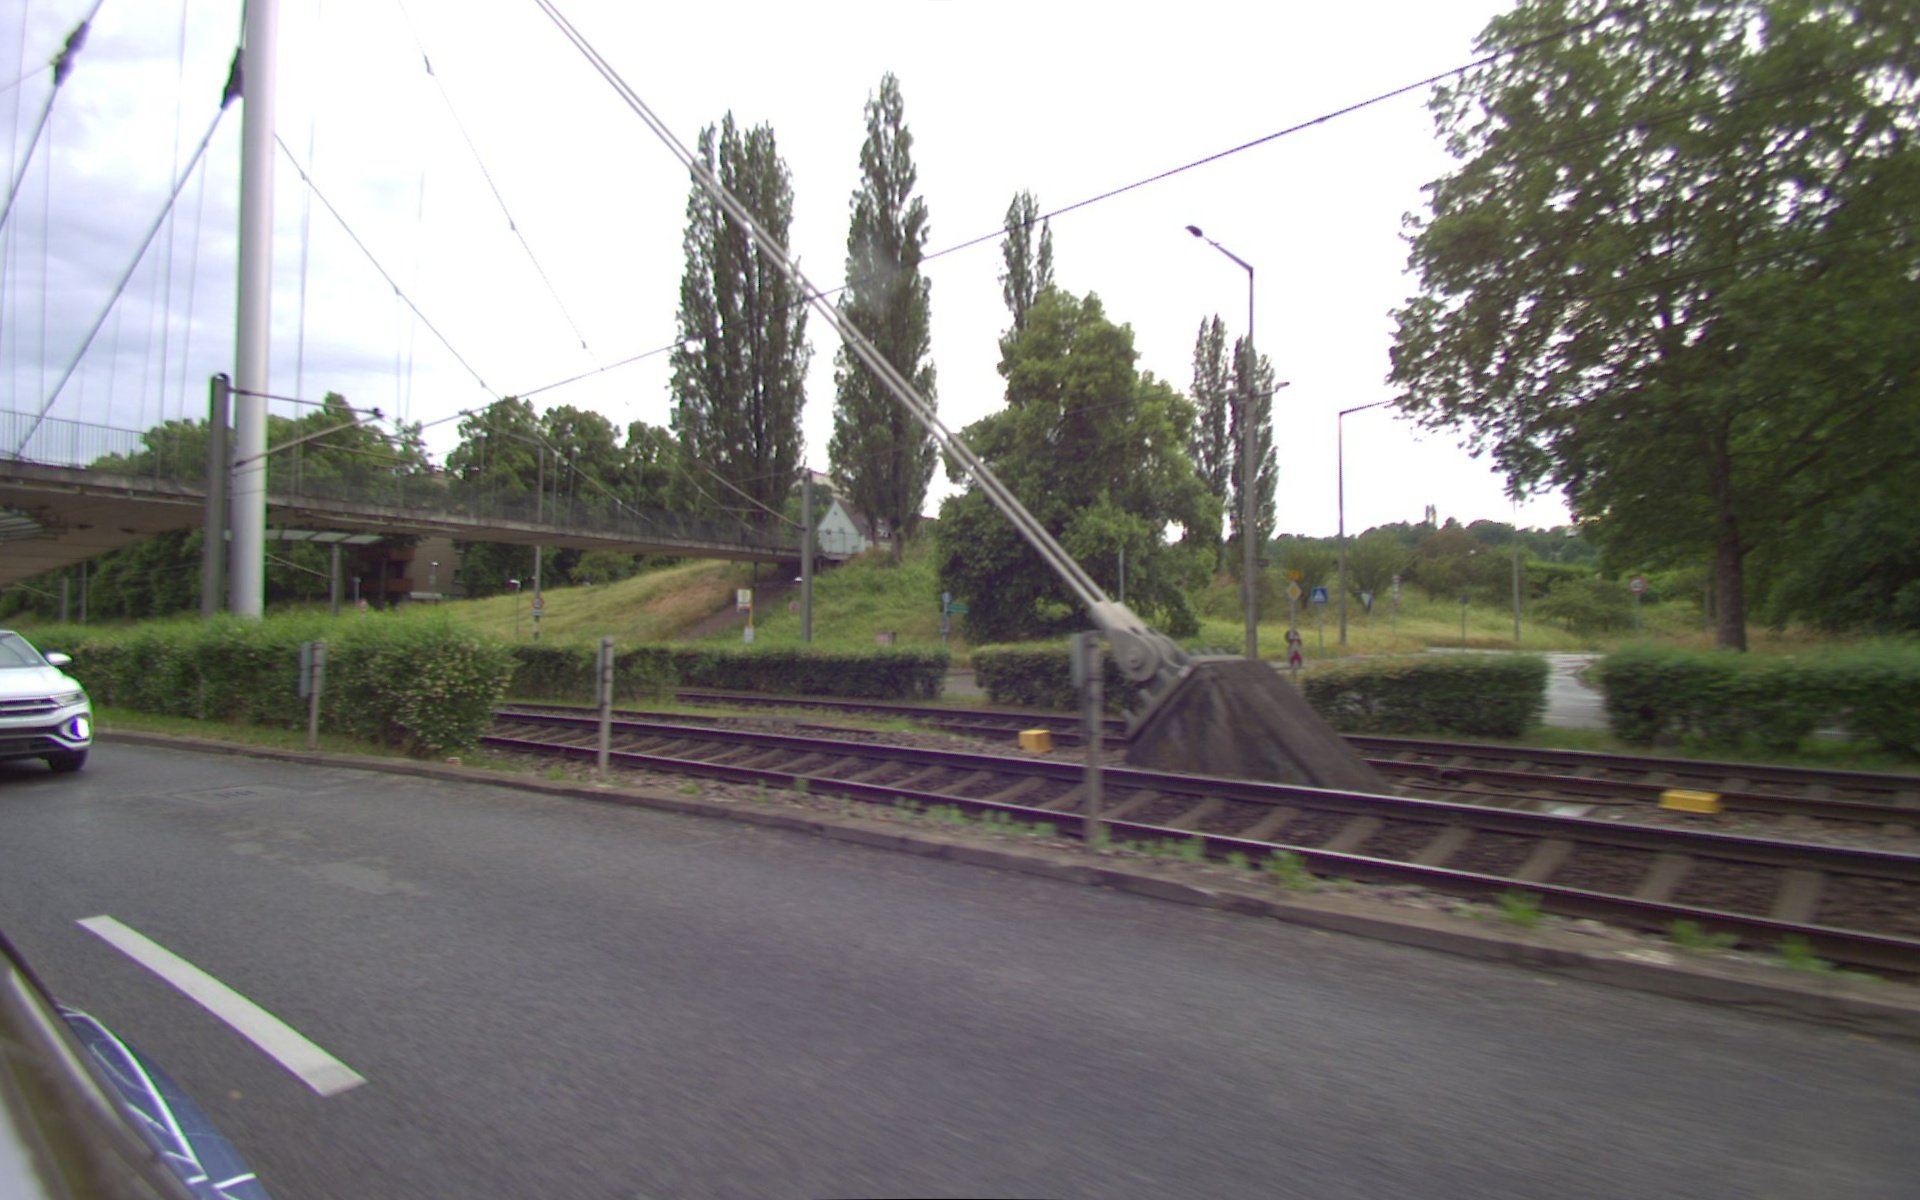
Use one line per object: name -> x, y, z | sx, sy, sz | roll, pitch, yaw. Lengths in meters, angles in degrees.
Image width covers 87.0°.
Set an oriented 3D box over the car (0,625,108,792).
car -> -10.784, 1.052, 10.446 | 4.527, 1.536, 1.856 | -2, -2, 34
